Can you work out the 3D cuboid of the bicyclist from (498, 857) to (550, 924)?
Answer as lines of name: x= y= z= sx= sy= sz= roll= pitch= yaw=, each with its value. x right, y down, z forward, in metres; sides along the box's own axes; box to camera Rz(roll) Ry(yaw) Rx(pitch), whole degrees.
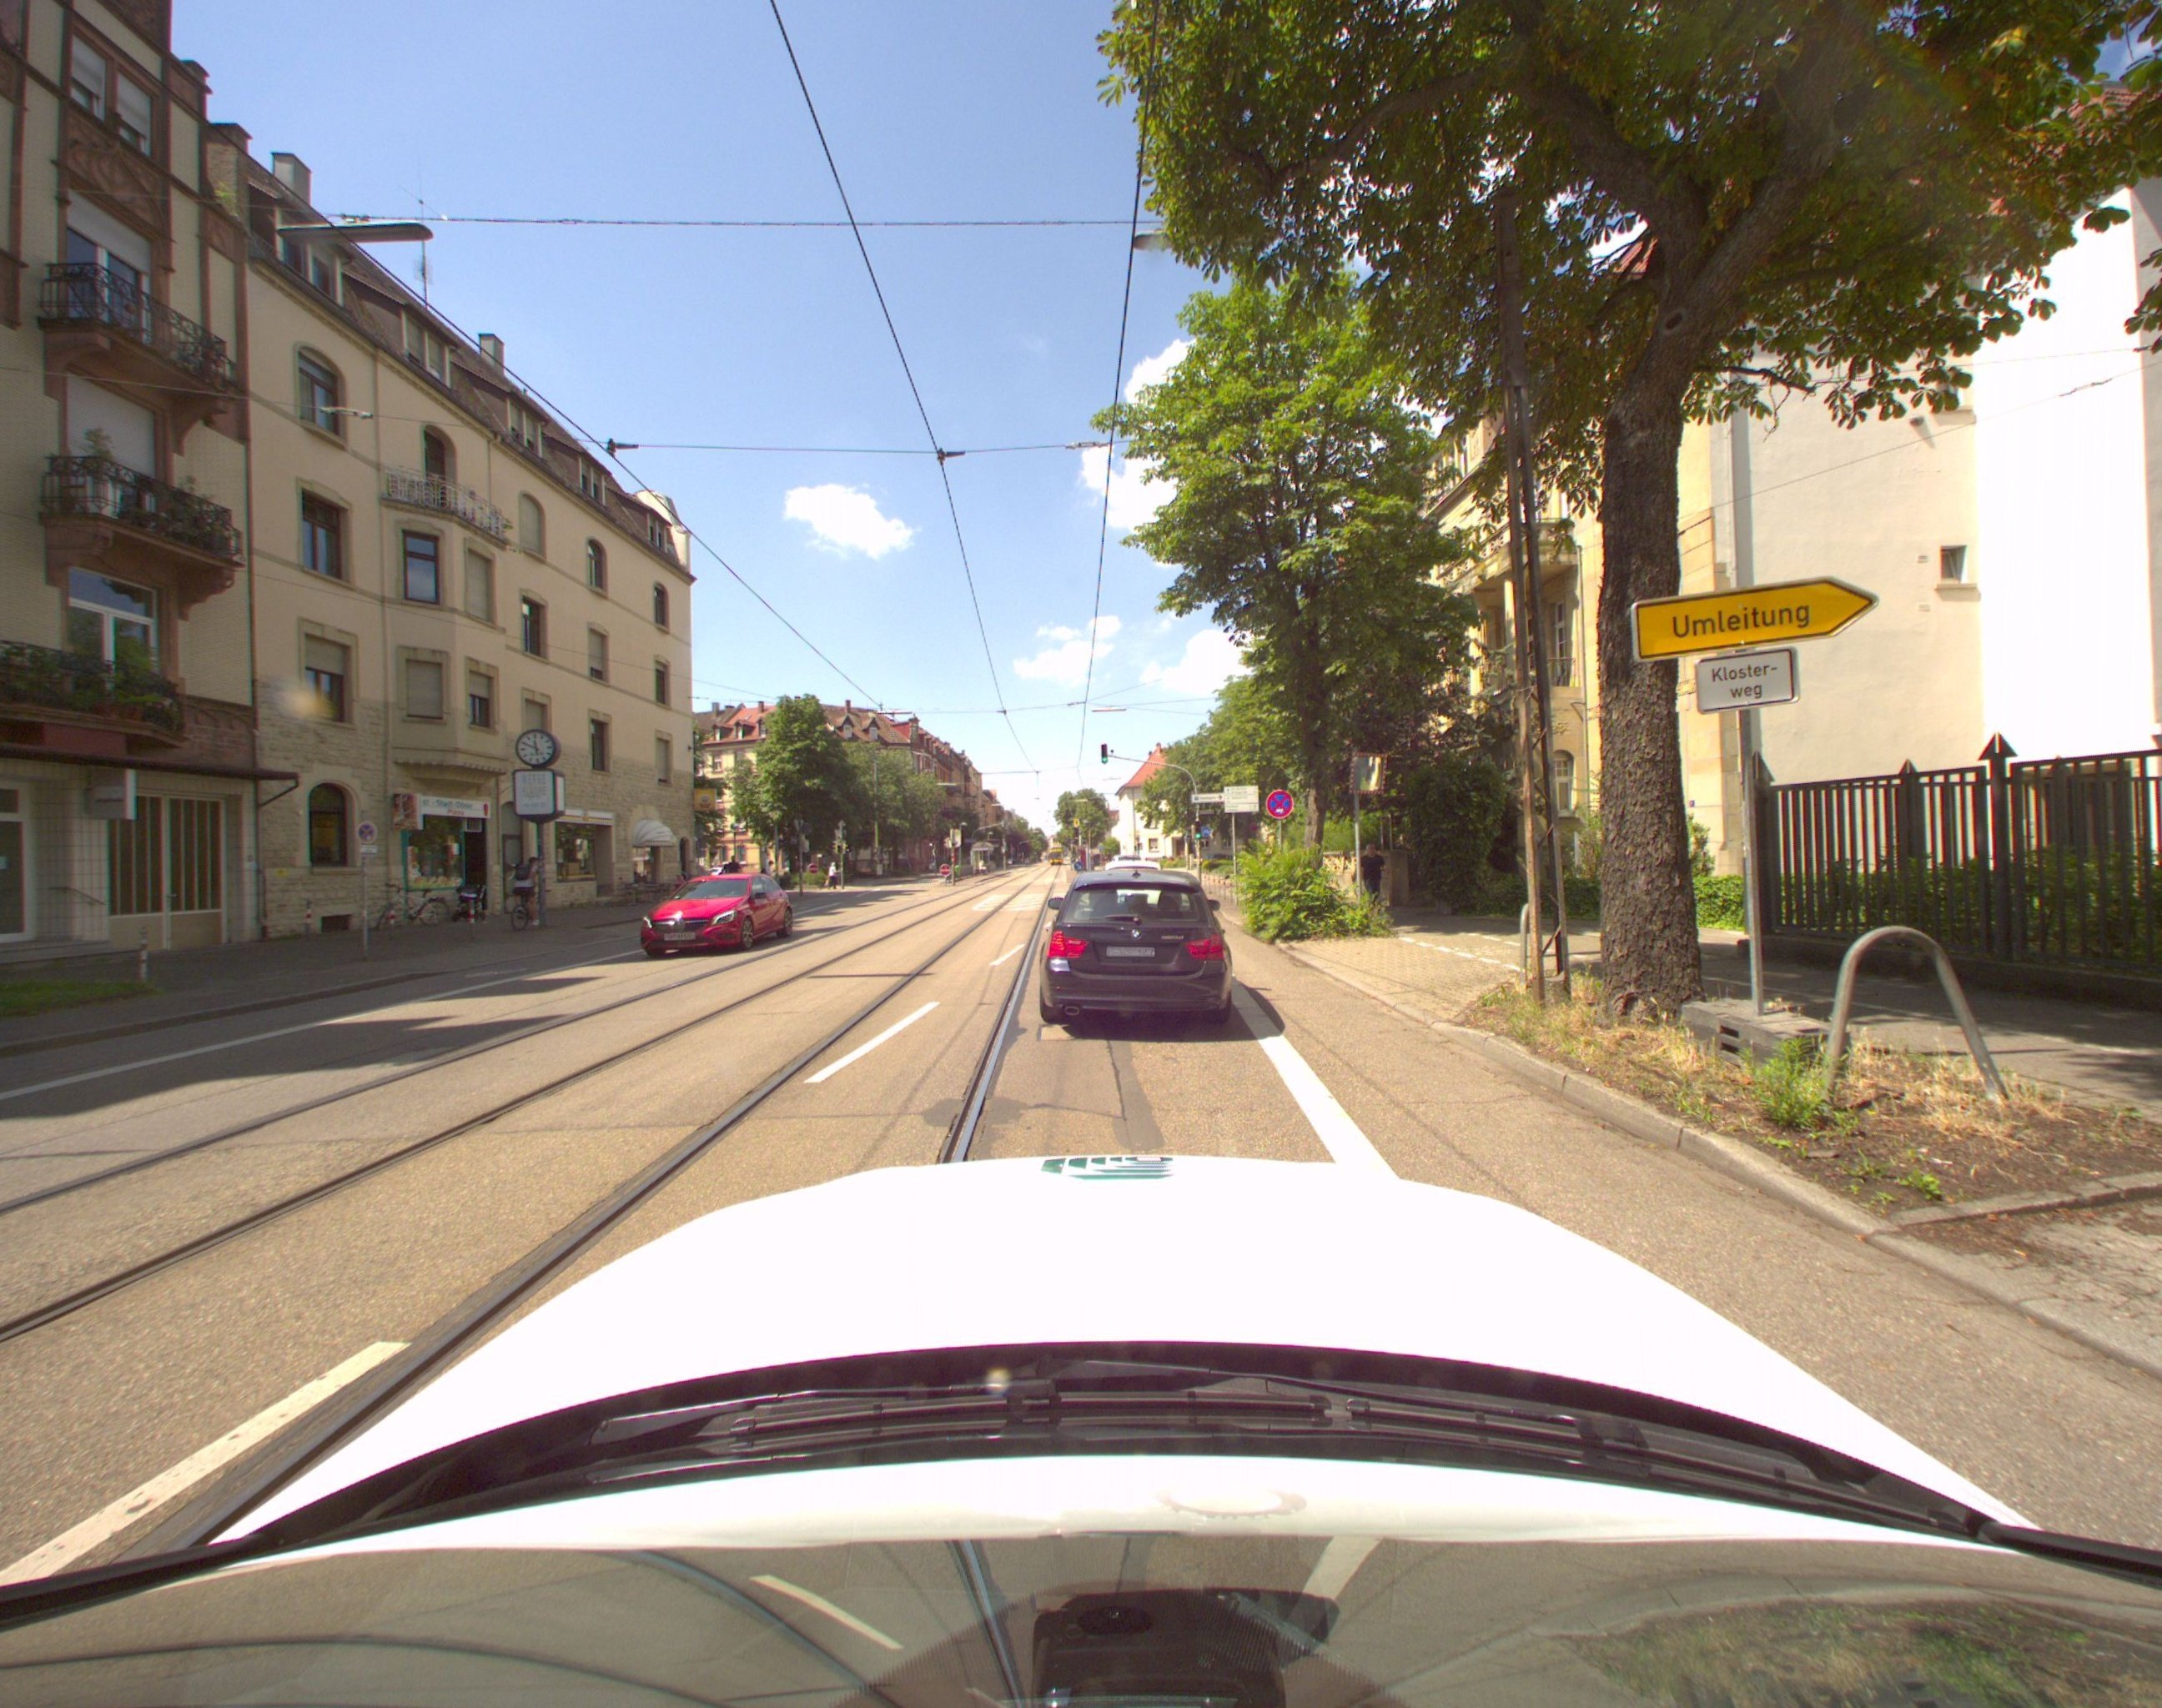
bicyclist: x=-14.107 y=0.914 z=20.633 sx=0.754 sy=1.663 sz=0.830 roll=0 pitch=-1 yaw=-4

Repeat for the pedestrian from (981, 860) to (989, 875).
pedestrian: x=-8.438 y=1.198 z=71.509 sx=0.613 sy=1.243 sz=0.626 roll=-2 pitch=-1 yaw=-7

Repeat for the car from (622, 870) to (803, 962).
car: x=-7.115 y=1.109 z=16.289 sx=1.820 sy=1.413 sz=4.421 roll=-3 pitch=0 yaw=-5

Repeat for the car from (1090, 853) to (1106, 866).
car: x=2.535 y=0.841 z=121.767 sx=1.990 sy=1.849 sz=3.993 roll=-2 pitch=0 yaw=-5

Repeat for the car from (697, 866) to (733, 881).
car: x=-40.917 y=2.171 z=91.035 sx=3.429 sy=1.471 sz=1.694 roll=-2 pitch=0 yaw=23

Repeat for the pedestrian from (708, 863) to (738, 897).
pedestrian: x=-17.737 y=1.263 z=40.342 sx=1.015 sy=1.635 sz=0.867 roll=-2 pitch=0 yaw=18

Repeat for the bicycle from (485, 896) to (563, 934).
bicycle: x=-14.076 y=1.527 z=20.640 sx=0.750 sy=0.817 sz=1.818 roll=-1 pitch=0 yaw=-3

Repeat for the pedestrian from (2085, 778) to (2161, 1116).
pedestrian: x=5.633 y=0.444 z=3.753 sx=0.764 sy=1.651 sz=0.974 roll=-2 pitch=0 yaw=0

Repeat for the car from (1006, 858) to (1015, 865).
car: x=-16.890 y=1.839 z=195.902 sx=1.787 sy=1.586 sz=3.986 roll=0 pitch=-1 yaw=-10

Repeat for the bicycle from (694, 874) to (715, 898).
bicycle: x=-18.231 y=1.545 z=39.443 sx=0.547 sy=1.128 sz=1.663 roll=-1 pitch=-2 yaw=-38

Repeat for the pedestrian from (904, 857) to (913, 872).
pedestrian: x=-20.918 y=1.245 z=98.689 sx=0.744 sy=1.811 sz=0.633 roll=-1 pitch=-1 yaw=-44

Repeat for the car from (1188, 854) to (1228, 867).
car: x=13.705 y=0.688 z=88.125 sx=3.948 sy=1.243 sz=1.634 roll=-2 pitch=0 yaw=34

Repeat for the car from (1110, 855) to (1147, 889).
car: x=2.302 y=0.842 z=39.616 sx=1.684 sy=1.514 sz=3.824 roll=-1 pitch=0 yaw=3

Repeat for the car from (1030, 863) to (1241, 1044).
car: x=0.608 y=0.832 z=8.949 sx=1.715 sy=1.409 sz=4.570 roll=0 pitch=0 yaw=4

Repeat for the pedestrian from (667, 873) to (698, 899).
pedestrian: x=-17.569 y=1.410 z=35.940 sx=0.913 sy=1.077 sz=0.883 roll=-2 pitch=0 yaw=0

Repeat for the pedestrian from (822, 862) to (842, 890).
pedestrian: x=-15.698 y=1.353 z=51.324 sx=0.910 sy=1.723 sz=0.843 roll=-2 pitch=0 yaw=10

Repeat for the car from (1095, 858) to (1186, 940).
car: x=1.219 y=0.854 z=17.287 sx=1.678 sy=1.484 sz=3.687 roll=-2 pitch=0 yaw=3

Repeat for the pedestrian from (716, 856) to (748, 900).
pedestrian: x=-15.555 y=1.056 z=36.369 sx=0.898 sy=1.891 sz=1.164 roll=-2 pitch=0 yaw=-2

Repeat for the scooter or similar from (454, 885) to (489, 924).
scooter or similar: x=-17.378 y=1.411 z=23.201 sx=0.700 sy=1.044 sz=1.195 roll=1 pitch=-1 yaw=-42

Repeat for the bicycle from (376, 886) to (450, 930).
bicycle: x=-17.180 y=1.378 z=20.973 sx=0.366 sy=1.066 sz=1.473 roll=-1 pitch=-2 yaw=22

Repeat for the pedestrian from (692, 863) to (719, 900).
pedestrian: x=-16.954 y=1.236 z=36.750 sx=0.806 sy=1.595 sz=0.917 roll=-2 pitch=0 yaw=-7

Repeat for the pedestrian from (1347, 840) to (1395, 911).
pedestrian: x=6.926 y=0.499 z=19.500 sx=0.852 sy=1.645 sz=0.838 roll=-2 pitch=-1 yaw=6

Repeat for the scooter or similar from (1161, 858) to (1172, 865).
scooter or similar: x=10.522 y=0.888 z=100.347 sx=1.310 sy=0.837 sz=0.525 roll=-2 pitch=0 yaw=-7

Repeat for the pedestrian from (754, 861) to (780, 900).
pedestrian: x=-14.247 y=1.201 z=36.917 sx=0.857 sy=1.732 sz=0.775 roll=0 pitch=0 yaw=0

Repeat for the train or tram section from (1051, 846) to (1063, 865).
train or tram section: x=-4.753 y=0.291 z=162.179 sx=2.184 sy=3.482 sz=8.839 roll=-2 pitch=0 yaw=-1

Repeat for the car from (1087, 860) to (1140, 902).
car: x=1.083 y=0.916 z=28.678 sx=1.686 sy=1.323 sz=3.820 roll=-2 pitch=0 yaw=0

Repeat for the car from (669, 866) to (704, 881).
car: x=-44.649 y=2.206 z=92.195 sx=3.429 sy=1.471 sz=1.694 roll=-2 pitch=0 yaw=23
